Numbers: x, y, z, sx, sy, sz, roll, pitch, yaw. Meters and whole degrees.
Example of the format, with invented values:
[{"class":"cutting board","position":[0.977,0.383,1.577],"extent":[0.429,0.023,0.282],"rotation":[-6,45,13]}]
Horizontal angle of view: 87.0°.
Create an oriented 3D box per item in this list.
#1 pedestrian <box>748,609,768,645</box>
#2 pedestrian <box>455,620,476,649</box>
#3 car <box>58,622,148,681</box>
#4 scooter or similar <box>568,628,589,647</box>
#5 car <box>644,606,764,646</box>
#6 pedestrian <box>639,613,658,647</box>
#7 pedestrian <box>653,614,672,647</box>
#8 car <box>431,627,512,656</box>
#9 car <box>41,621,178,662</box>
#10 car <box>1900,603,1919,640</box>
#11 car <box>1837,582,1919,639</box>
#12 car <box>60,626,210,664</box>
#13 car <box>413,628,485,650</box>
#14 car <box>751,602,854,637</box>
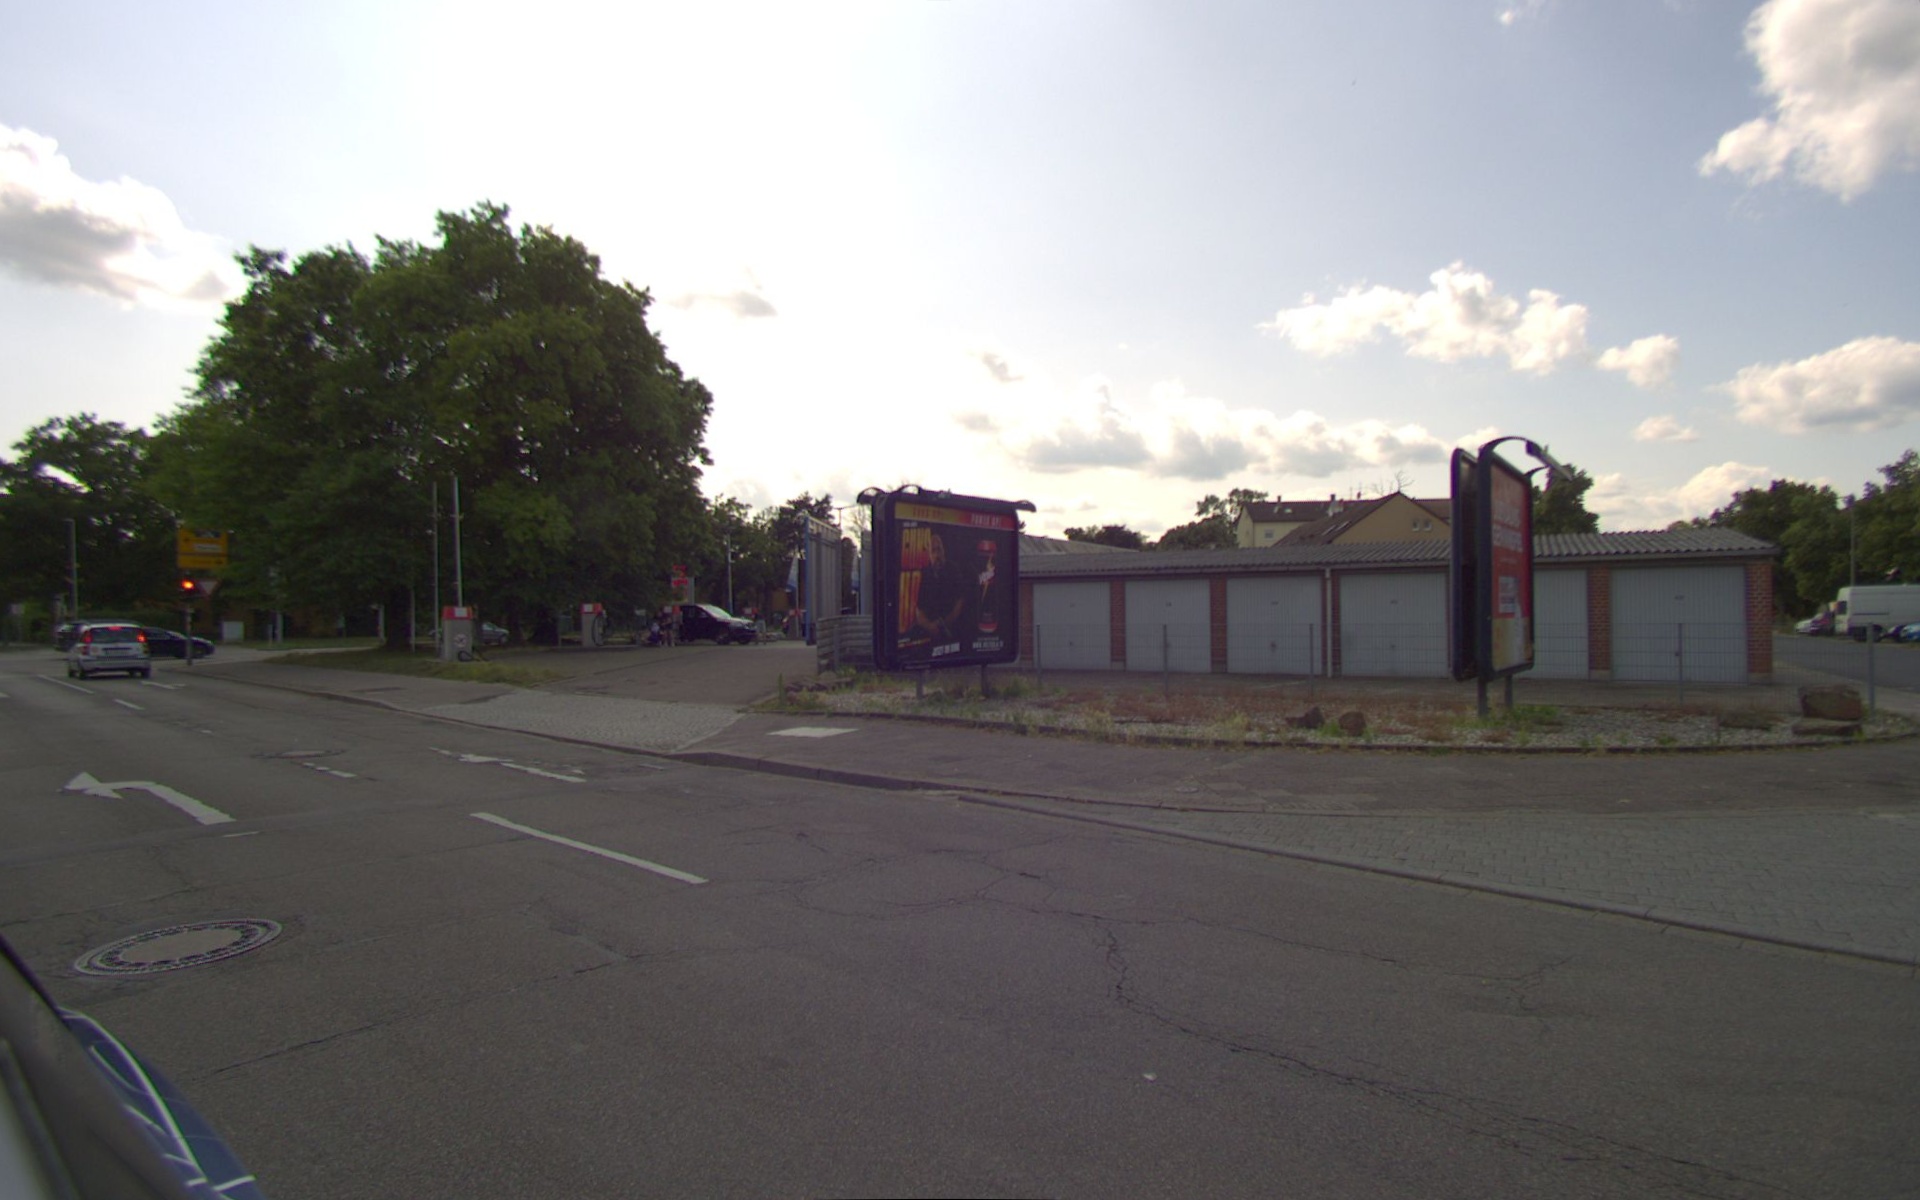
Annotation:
[{"class":"pedestrian","position":[-8.483,1.122,42.573],"extent":[0.558,1.506,0.615],"rotation":[1,-1,23]},{"class":"pedestrian","position":[-26.571,1.863,54.364],"extent":[0.720,1.543,0.756],"rotation":[-1,-1,14]},{"class":"car","position":[-24.294,1.410,28.647],"extent":[3.609,1.528,1.537],"rotation":[-1,-1,43]},{"class":"scooter or similar","position":[-21.016,2.046,55.755],"extent":[0.220,0.987,1.259],"rotation":[-2,-1,29]},{"class":"car","position":[-10.856,1.096,42.931],"extent":[4.529,1.608,2.140],"rotation":[-1,-1,20]},{"class":"pedestrian","position":[-11.634,1.117,37.827],"extent":[0.634,1.265,0.768],"rotation":[1,0,-14]},{"class":"pedestrian","position":[-11.383,1.160,38.700],"extent":[0.634,1.199,0.768],"rotation":[1,0,-14]},{"class":"car","position":[-30.021,2.519,62.288],"extent":[1.697,1.631,4.316],"rotation":[0,0,29]},{"class":"car","position":[-39.037,1.854,46.567],"extent":[1.811,1.759,4.504],"rotation":[0,-1,29]},{"class":"car","position":[41.231,0.788,41.045],"extent":[4.249,1.493,1.632],"rotation":[-4,-3,35]},{"class":"car","position":[43.138,0.506,46.271],"extent":[4.241,2.547,1.835],"rotation":[-1,-2,29]},{"class":"car","position":[-36.281,1.935,44.655],"extent":[1.795,1.508,4.824],"rotation":[1,0,29]},{"class":"car","position":[-37.536,2.843,74.438],"extent":[1.721,1.473,4.490],"rotation":[-1,-1,29]},{"class":"car","position":[-8.612,1.068,55.302],"extent":[5.158,1.840,2.140],"rotation":[-1,-1,20]}]
